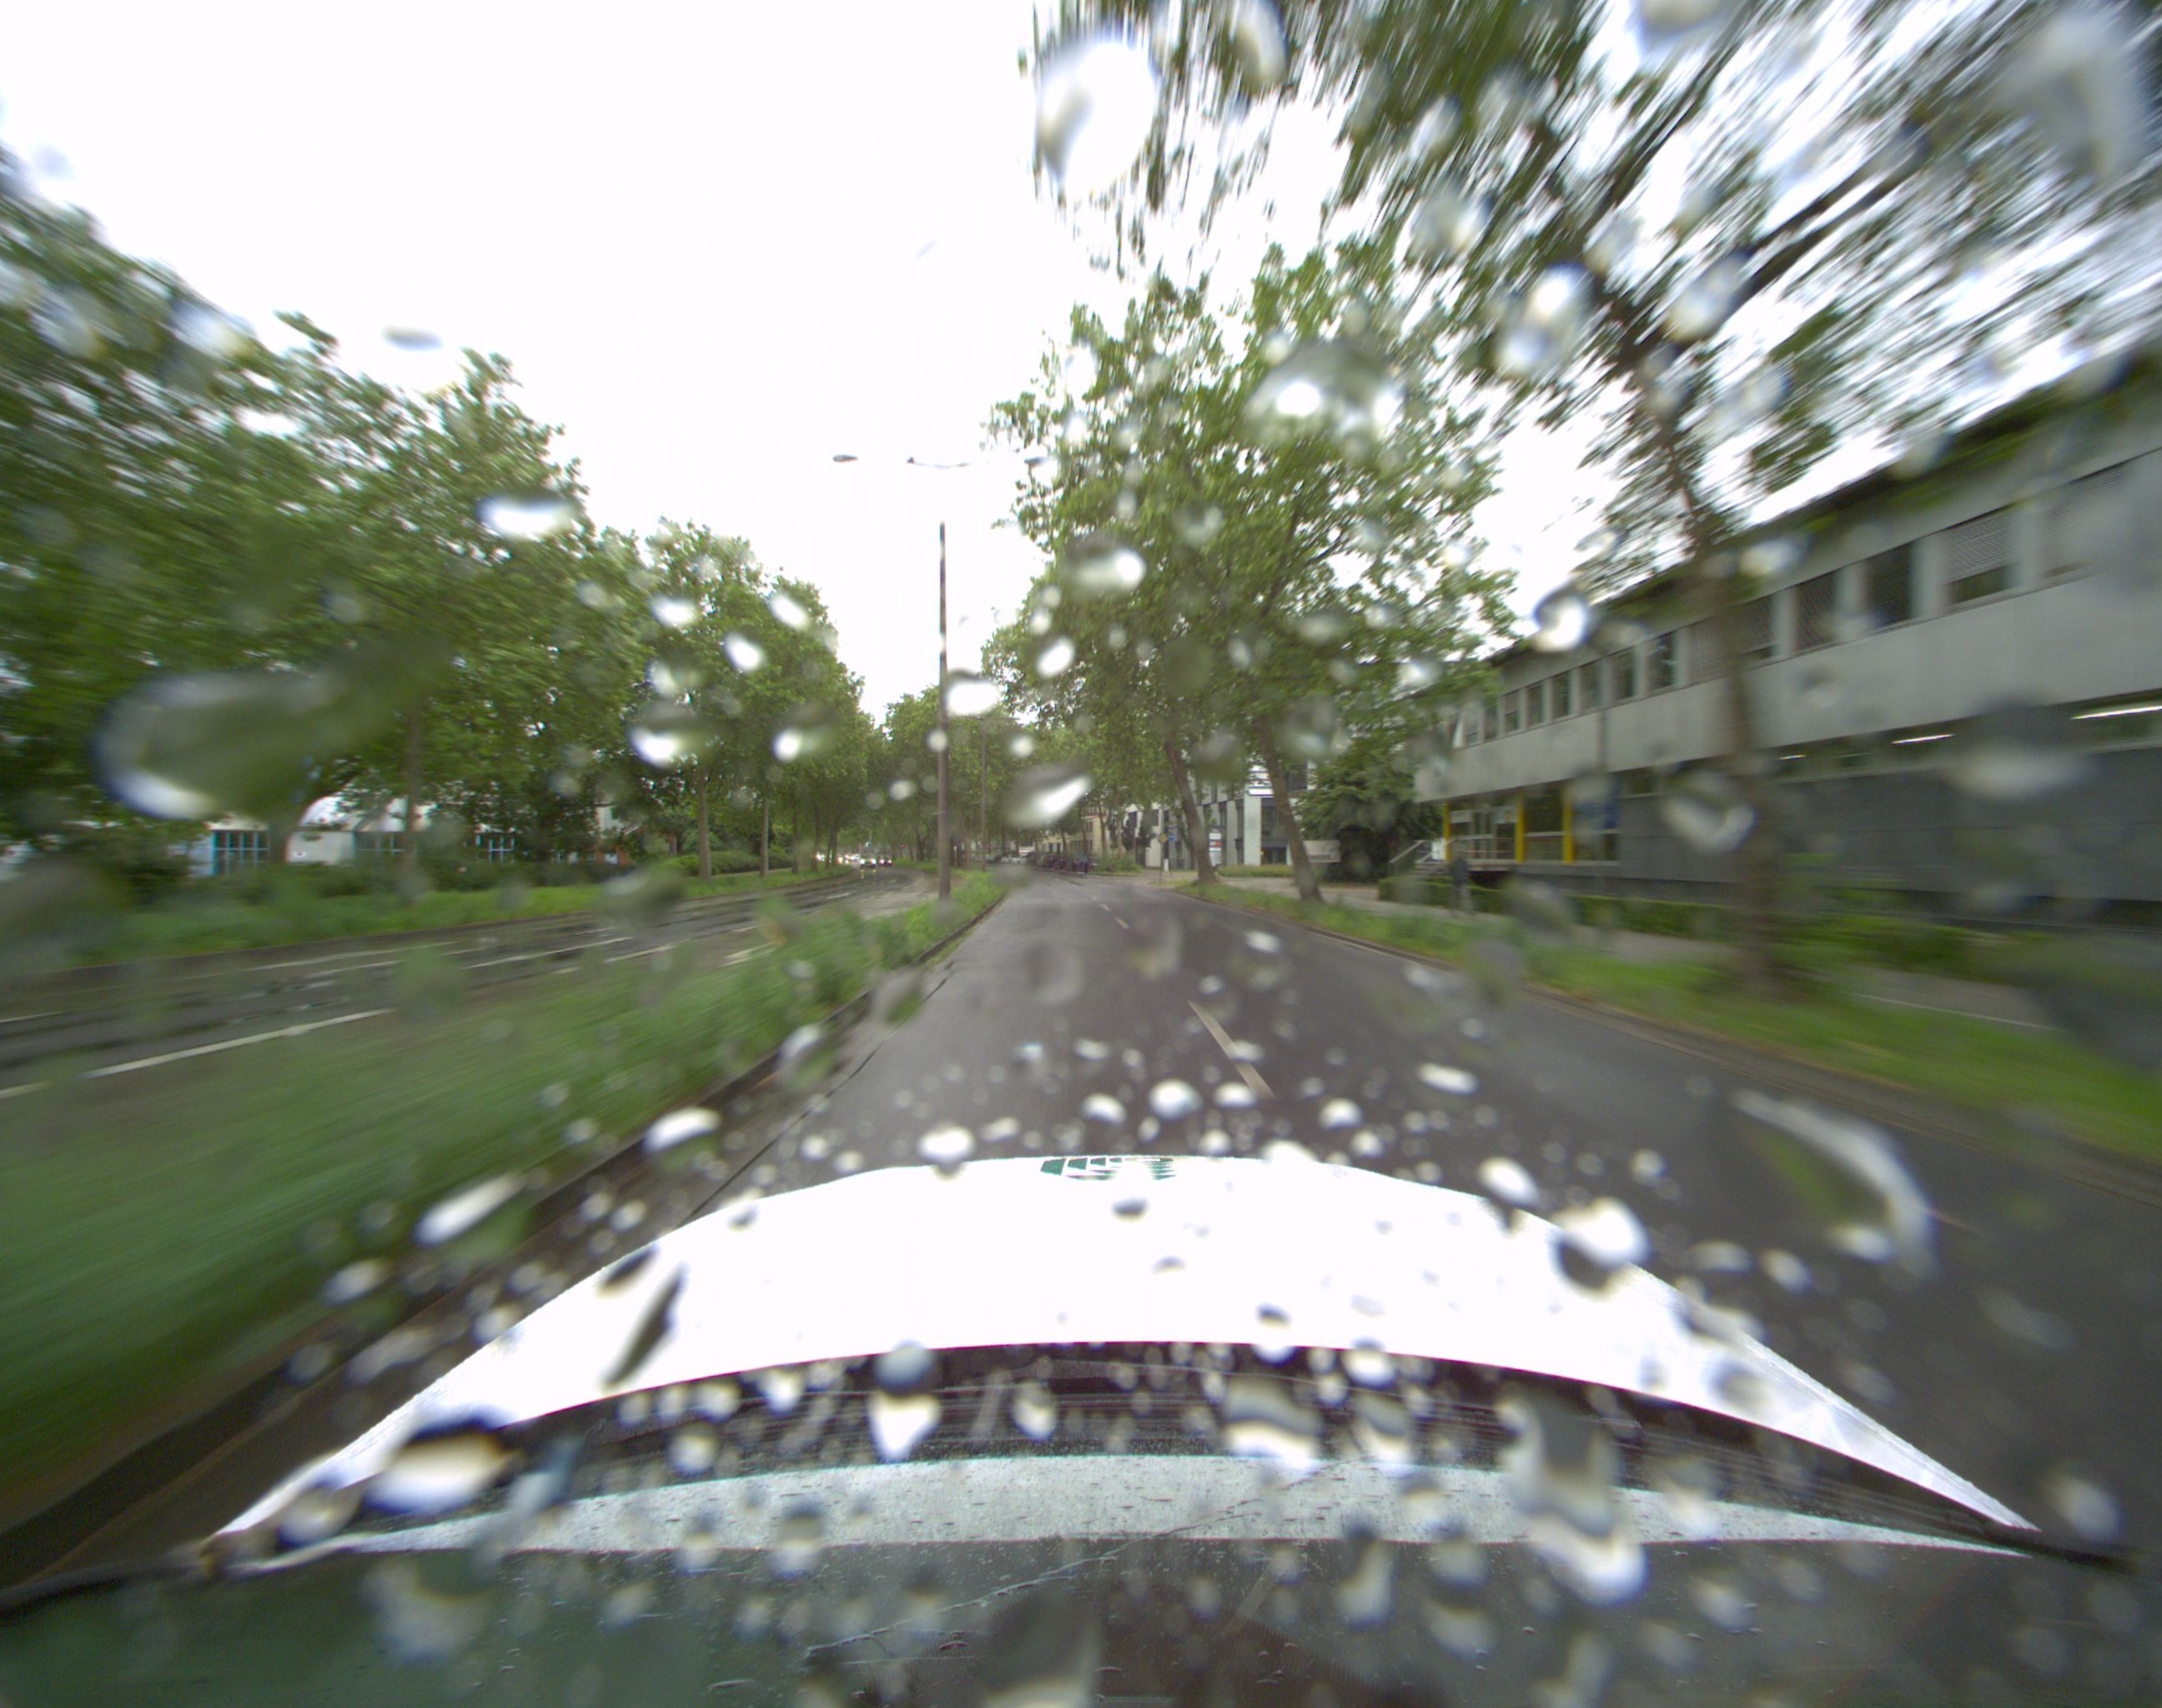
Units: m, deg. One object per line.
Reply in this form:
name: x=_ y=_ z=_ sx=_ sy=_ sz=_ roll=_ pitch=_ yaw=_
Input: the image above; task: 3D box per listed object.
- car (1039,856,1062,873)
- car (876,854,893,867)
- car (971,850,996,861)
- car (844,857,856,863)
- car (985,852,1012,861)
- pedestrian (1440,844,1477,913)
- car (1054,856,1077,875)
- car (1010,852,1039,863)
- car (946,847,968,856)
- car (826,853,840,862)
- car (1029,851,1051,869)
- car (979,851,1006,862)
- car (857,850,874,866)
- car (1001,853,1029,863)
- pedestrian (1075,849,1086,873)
car: x=-3.427 y=1.155 z=91.126 sx=1.994 sy=1.782 sz=3.986 roll=0 pitch=1 yaw=-11
car: x=-29.458 y=0.941 z=122.052 sx=2.000 sy=1.716 sz=3.974 roll=0 pitch=1 yaw=-20
car: x=-17.146 y=0.274 z=143.408 sx=4.004 sy=1.820 sz=1.985 roll=0 pitch=1 yaw=-23
car: x=-47.542 y=1.217 z=167.745 sx=1.772 sy=1.226 sz=3.750 roll=0 pitch=1 yaw=-27
car: x=-13.504 y=0.417 z=133.329 sx=3.885 sy=1.504 sz=1.873 roll=0 pitch=1 yaw=-24
pedestrian: x=9.455 y=0.594 z=20.390 sx=0.664 sy=1.668 sz=0.830 roll=1 pitch=1 yaw=37
car: x=-1.636 y=1.156 z=84.174 sx=1.991 sy=1.782 sz=3.992 roll=0 pitch=1 yaw=-6
car: x=-8.404 y=0.503 z=120.907 sx=3.878 sy=1.650 sz=1.876 roll=0 pitch=1 yaw=-19
car: x=-25.372 y=-0.573 z=166.286 sx=4.004 sy=1.820 sz=1.985 roll=0 pitch=1 yaw=-23
car: x=-46.685 y=0.712 z=153.326 sx=2.004 sy=1.585 sz=3.966 roll=0 pitch=1 yaw=-27
car: x=-5.248 y=0.723 z=102.864 sx=2.124 sy=2.088 sz=3.983 roll=0 pitch=1 yaw=-13
car: x=-15.012 y=0.396 z=138.218 sx=4.008 sy=1.831 sz=1.983 roll=0 pitch=1 yaw=-26
car: x=-28.448 y=0.509 z=107.304 sx=1.986 sy=2.013 sz=3.976 roll=0 pitch=1 yaw=-18
car: x=-10.098 y=0.647 z=124.447 sx=3.885 sy=1.493 sz=1.873 roll=0 pitch=1 yaw=-24
pedestrian: x=-0.063 y=0.580 z=69.176 sx=0.853 sy=1.950 sz=0.707 roll=0 pitch=1 yaw=-6
